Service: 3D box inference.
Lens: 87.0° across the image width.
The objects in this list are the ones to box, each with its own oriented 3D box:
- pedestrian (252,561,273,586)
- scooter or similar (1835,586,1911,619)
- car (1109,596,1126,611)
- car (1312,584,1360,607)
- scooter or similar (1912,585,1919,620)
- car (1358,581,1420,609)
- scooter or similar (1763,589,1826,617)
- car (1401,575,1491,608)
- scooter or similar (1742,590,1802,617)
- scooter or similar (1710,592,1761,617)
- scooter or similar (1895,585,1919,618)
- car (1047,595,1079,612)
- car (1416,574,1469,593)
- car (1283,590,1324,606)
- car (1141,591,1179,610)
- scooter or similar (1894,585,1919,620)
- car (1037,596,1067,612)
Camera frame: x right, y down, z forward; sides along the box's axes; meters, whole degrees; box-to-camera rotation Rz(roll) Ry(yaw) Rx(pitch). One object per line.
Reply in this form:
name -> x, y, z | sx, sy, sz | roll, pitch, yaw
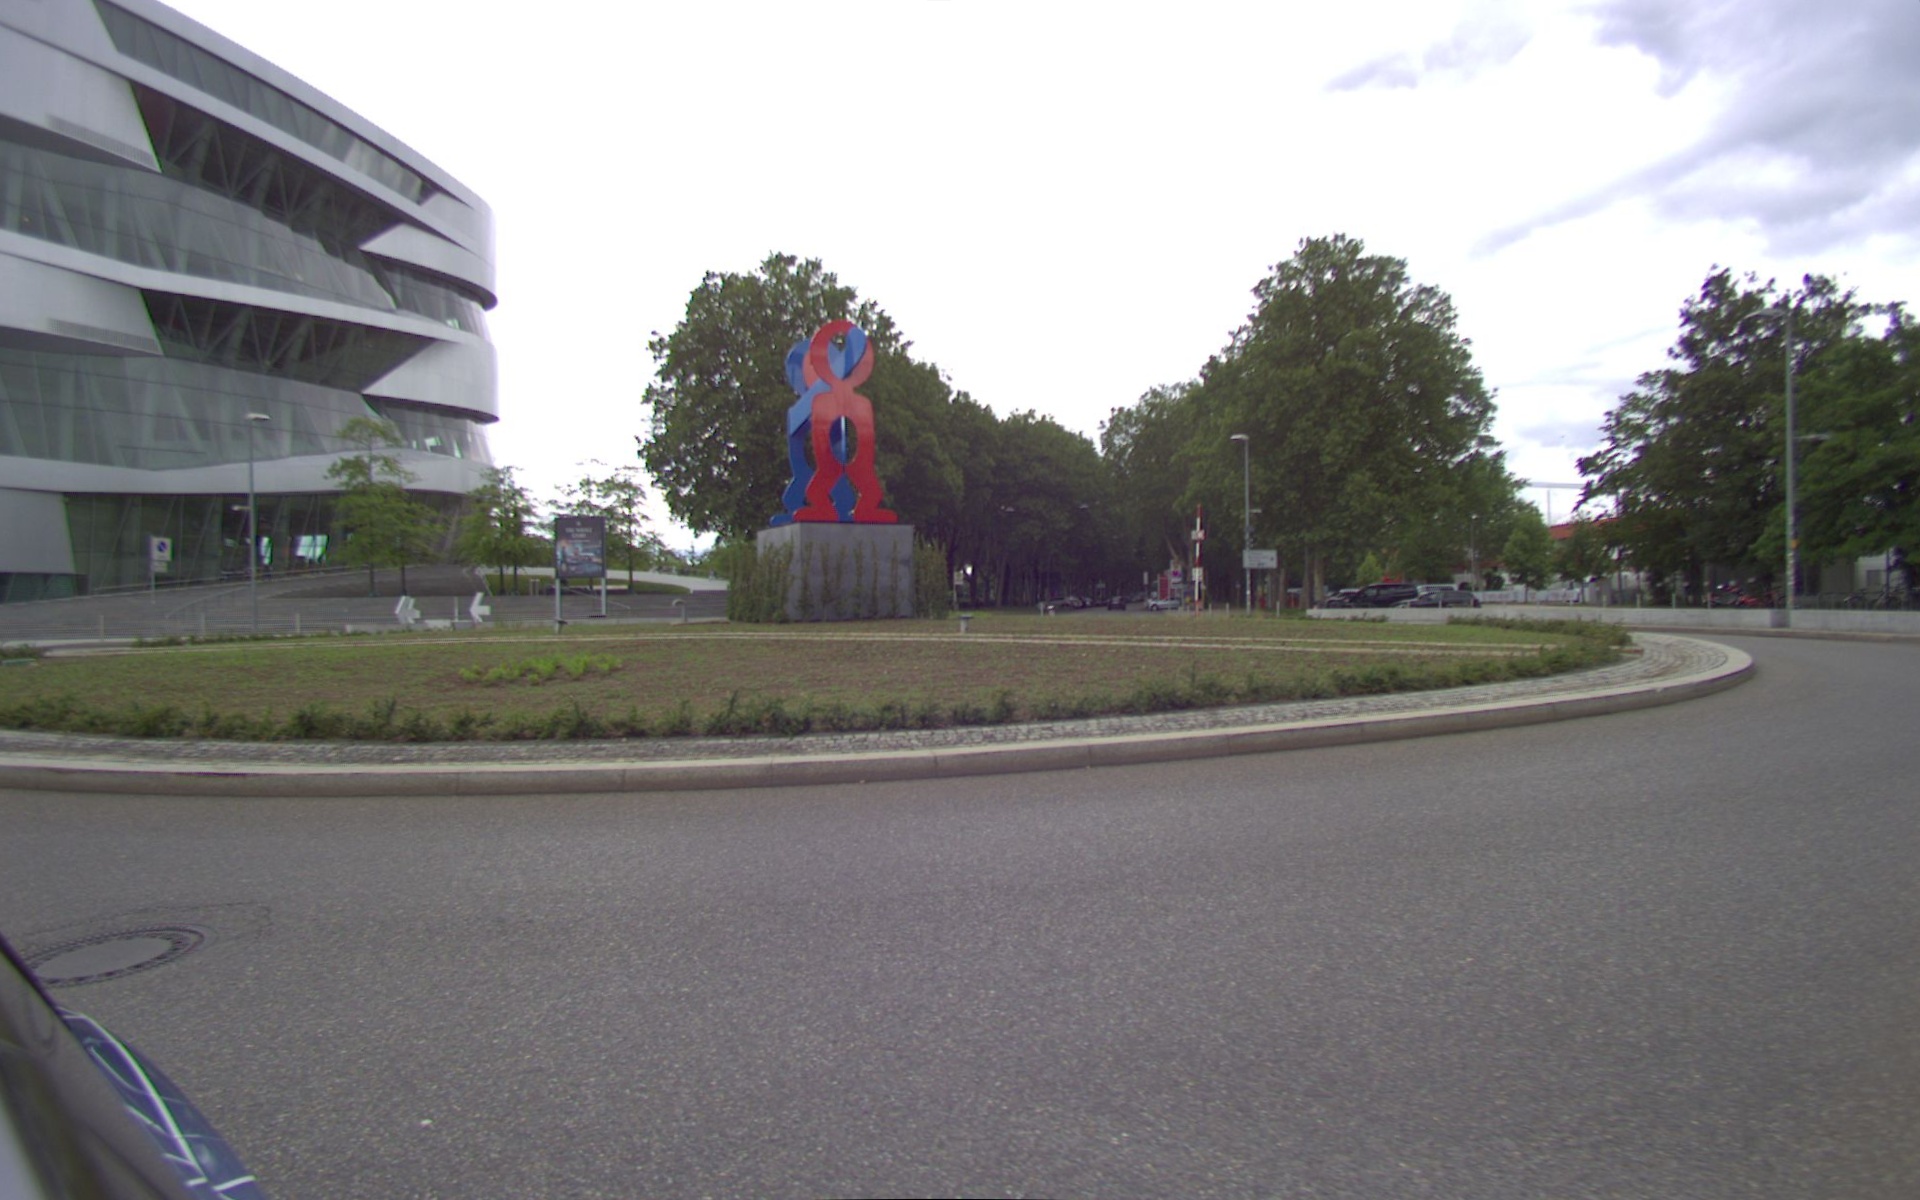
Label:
pedestrian -> -57.021, -2.164, 82.699 | 0.845, 1.938, 0.948 | -2, 3, 16
scooter or similar -> 33.189, 0.082, 36.804 | 1.954, 1.117, 0.638 | -2, -1, 11
car -> 16.360, 0.411, 105.260 | 1.651, 1.493, 3.702 | -2, -1, 8
car -> 31.471, -0.377, 84.750 | 3.684, 1.791, 1.659 | -2, -1, 21
scooter or similar -> 31.323, 0.048, 31.819 | 1.954, 1.117, 0.638 | -2, -1, 11
car -> 29.724, -0.337, 70.157 | 3.677, 1.791, 1.662 | -2, -1, 15
scooter or similar -> 35.256, 0.140, 42.779 | 1.954, 1.117, 0.638 | -2, -1, 11
car -> 25.115, -0.403, 52.401 | 3.786, 1.536, 1.772 | -2, -1, 12
scooter or similar -> 35.896, 0.159, 44.757 | 1.954, 1.117, 0.638 | -2, -1, 11
scooter or similar -> 36.707, 0.220, 47.927 | 1.790, 1.103, 0.544 | -2, -1, 11
scooter or similar -> 33.193, 0.037, 34.429 | 1.954, 1.117, 0.638 | -2, -1, 11
car -> 12.484, 0.424, 122.504 | 3.426, 1.863, 1.676 | -1, 0, 22
car -> 48.131, -1.592, 101.009 | 4.389, 1.664, 1.790 | -2, -1, 11
car -> 36.074, -0.175, 106.282 | 3.980, 1.530, 1.858 | -2, -1, 22
car -> 20.297, 0.093, 102.819 | 3.677, 1.791, 1.662 | -2, -1, 15
scooter or similar -> 31.466, 0.053, 32.579 | 1.954, 1.113, 0.638 | -2, -1, 11
car -> 10.750, 0.459, 118.076 | 3.414, 1.697, 1.682 | -1, 0, 12
